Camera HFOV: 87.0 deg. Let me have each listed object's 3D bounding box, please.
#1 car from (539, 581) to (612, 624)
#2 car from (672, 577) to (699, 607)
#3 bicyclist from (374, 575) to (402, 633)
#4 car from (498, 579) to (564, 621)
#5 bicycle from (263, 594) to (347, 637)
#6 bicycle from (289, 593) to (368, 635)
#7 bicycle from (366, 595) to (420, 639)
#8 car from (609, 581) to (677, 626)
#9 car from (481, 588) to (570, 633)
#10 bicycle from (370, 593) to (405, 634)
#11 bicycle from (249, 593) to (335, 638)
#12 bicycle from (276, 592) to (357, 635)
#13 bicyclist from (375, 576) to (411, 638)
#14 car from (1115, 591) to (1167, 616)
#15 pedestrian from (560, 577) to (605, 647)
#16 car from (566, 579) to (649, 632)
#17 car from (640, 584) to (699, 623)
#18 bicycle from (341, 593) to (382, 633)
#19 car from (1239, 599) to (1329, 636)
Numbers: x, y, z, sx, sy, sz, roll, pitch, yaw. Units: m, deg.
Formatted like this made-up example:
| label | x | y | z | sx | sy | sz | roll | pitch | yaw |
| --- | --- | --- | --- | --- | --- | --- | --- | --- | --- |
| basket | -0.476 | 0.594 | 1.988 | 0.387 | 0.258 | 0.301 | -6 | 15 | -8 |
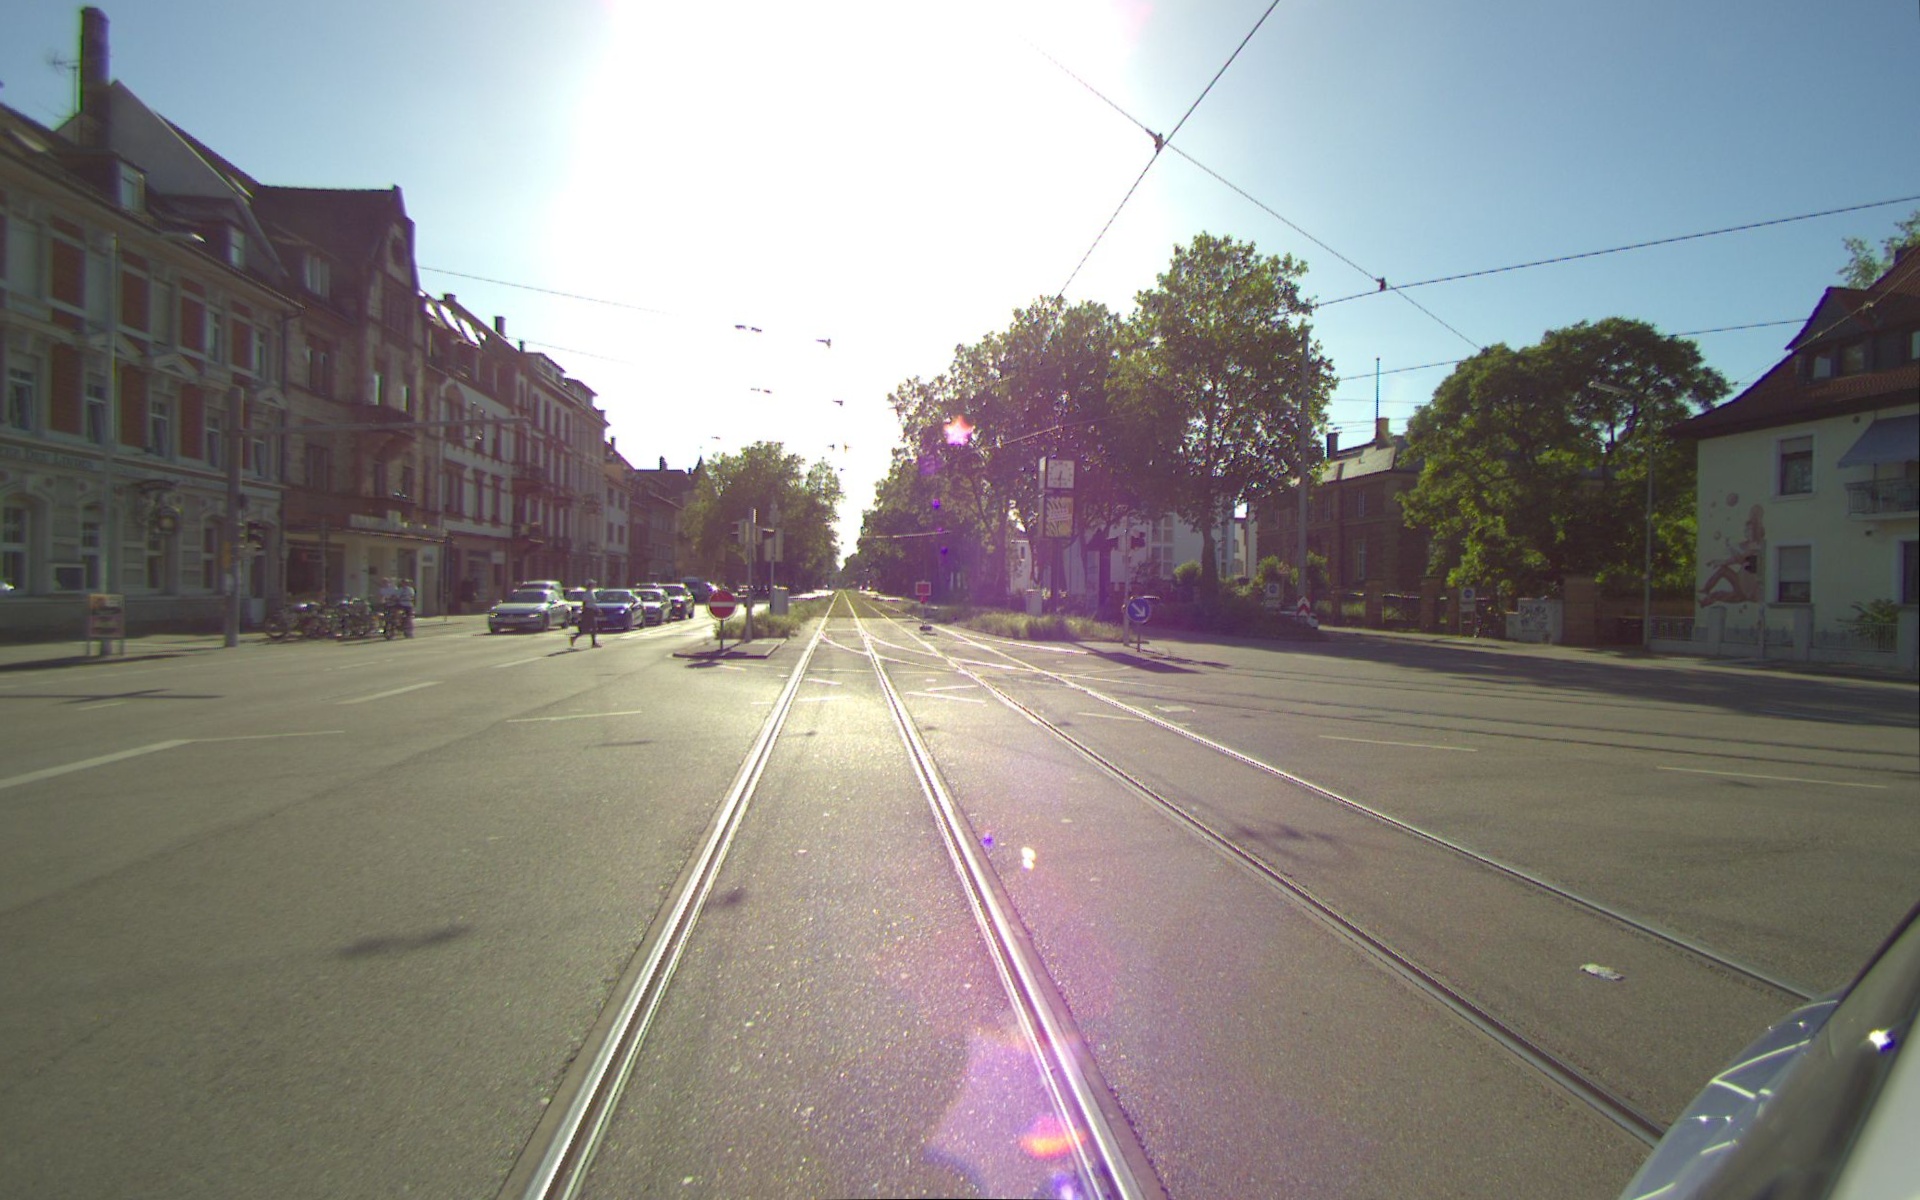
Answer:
| label | x | y | z | sx | sy | sz | roll | pitch | yaw |
| --- | --- | --- | --- | --- | --- | --- | --- | --- | --- |
| car | -15.898 | 0.061 | 42.032 | 1.915 | 1.688 | 4.006 | 1 | 1 | -7 |
| car | -28.279 | -0.851 | 104.382 | 2.157 | 2.945 | 5.970 | 1 | 1 | -10 |
| bicyclist | -18.005 | 0.108 | 31.884 | 0.589 | 1.786 | 0.908 | 1 | 0 | -20 |
| car | -21.688 | -0.018 | 51.362 | 1.915 | 1.989 | 4.425 | 1 | 1 | -7 |
| bicycle | -18.955 | 0.442 | 29.297 | 1.928 | 1.205 | 0.680 | 1 | 0 | -5 |
| bicycle | -19.098 | 0.430 | 30.623 | 1.928 | 1.205 | 0.680 | 1 | 0 | -5 |
| bicycle | -16.818 | 0.484 | 30.065 | 0.589 | 1.205 | 1.969 | 1 | 1 | -4 |
| car | -12.726 | 0.108 | 40.823 | 1.915 | 1.688 | 4.006 | 1 | 1 | -7 |
| car | -15.060 | 0.311 | 35.291 | 1.808 | 1.430 | 4.006 | 1 | 1 | -7 |
| bicycle | -17.988 | 0.415 | 31.804 | 0.589 | 1.205 | 1.972 | 1 | 1 | -19 |
| bicycle | -18.850 | 0.423 | 28.598 | 1.928 | 1.205 | 0.680 | 1 | 0 | -5 |
| bicycle | -19.029 | 0.397 | 29.947 | 1.928 | 1.205 | 0.680 | 1 | 0 | -5 |
| bicyclist | -16.805 | 0.191 | 30.001 | 0.589 | 1.786 | 0.876 | 1 | 0 | -4 |
| car | 11.644 | 0.184 | 65.540 | 1.879 | 1.472 | 4.511 | 1 | 1 | -10 |
| pedestrian | -9.346 | 0.298 | 25.099 | 0.920 | 1.690 | 0.719 | 1 | 0 | -13 |
| car | -12.202 | 0.145 | 35.256 | 1.915 | 1.688 | 4.006 | 1 | 1 | -7 |
| car | -13.346 | 0.111 | 46.704 | 1.915 | 1.688 | 4.493 | 1 | 1 | -7 |
| bicycle | -18.850 | 0.392 | 31.906 | 0.665 | 1.205 | 1.972 | 1 | 1 | -18 |
| car | 14.265 | 0.736 | 44.815 | 1.879 | 1.472 | 4.511 | 1 | 1 | -10 |
